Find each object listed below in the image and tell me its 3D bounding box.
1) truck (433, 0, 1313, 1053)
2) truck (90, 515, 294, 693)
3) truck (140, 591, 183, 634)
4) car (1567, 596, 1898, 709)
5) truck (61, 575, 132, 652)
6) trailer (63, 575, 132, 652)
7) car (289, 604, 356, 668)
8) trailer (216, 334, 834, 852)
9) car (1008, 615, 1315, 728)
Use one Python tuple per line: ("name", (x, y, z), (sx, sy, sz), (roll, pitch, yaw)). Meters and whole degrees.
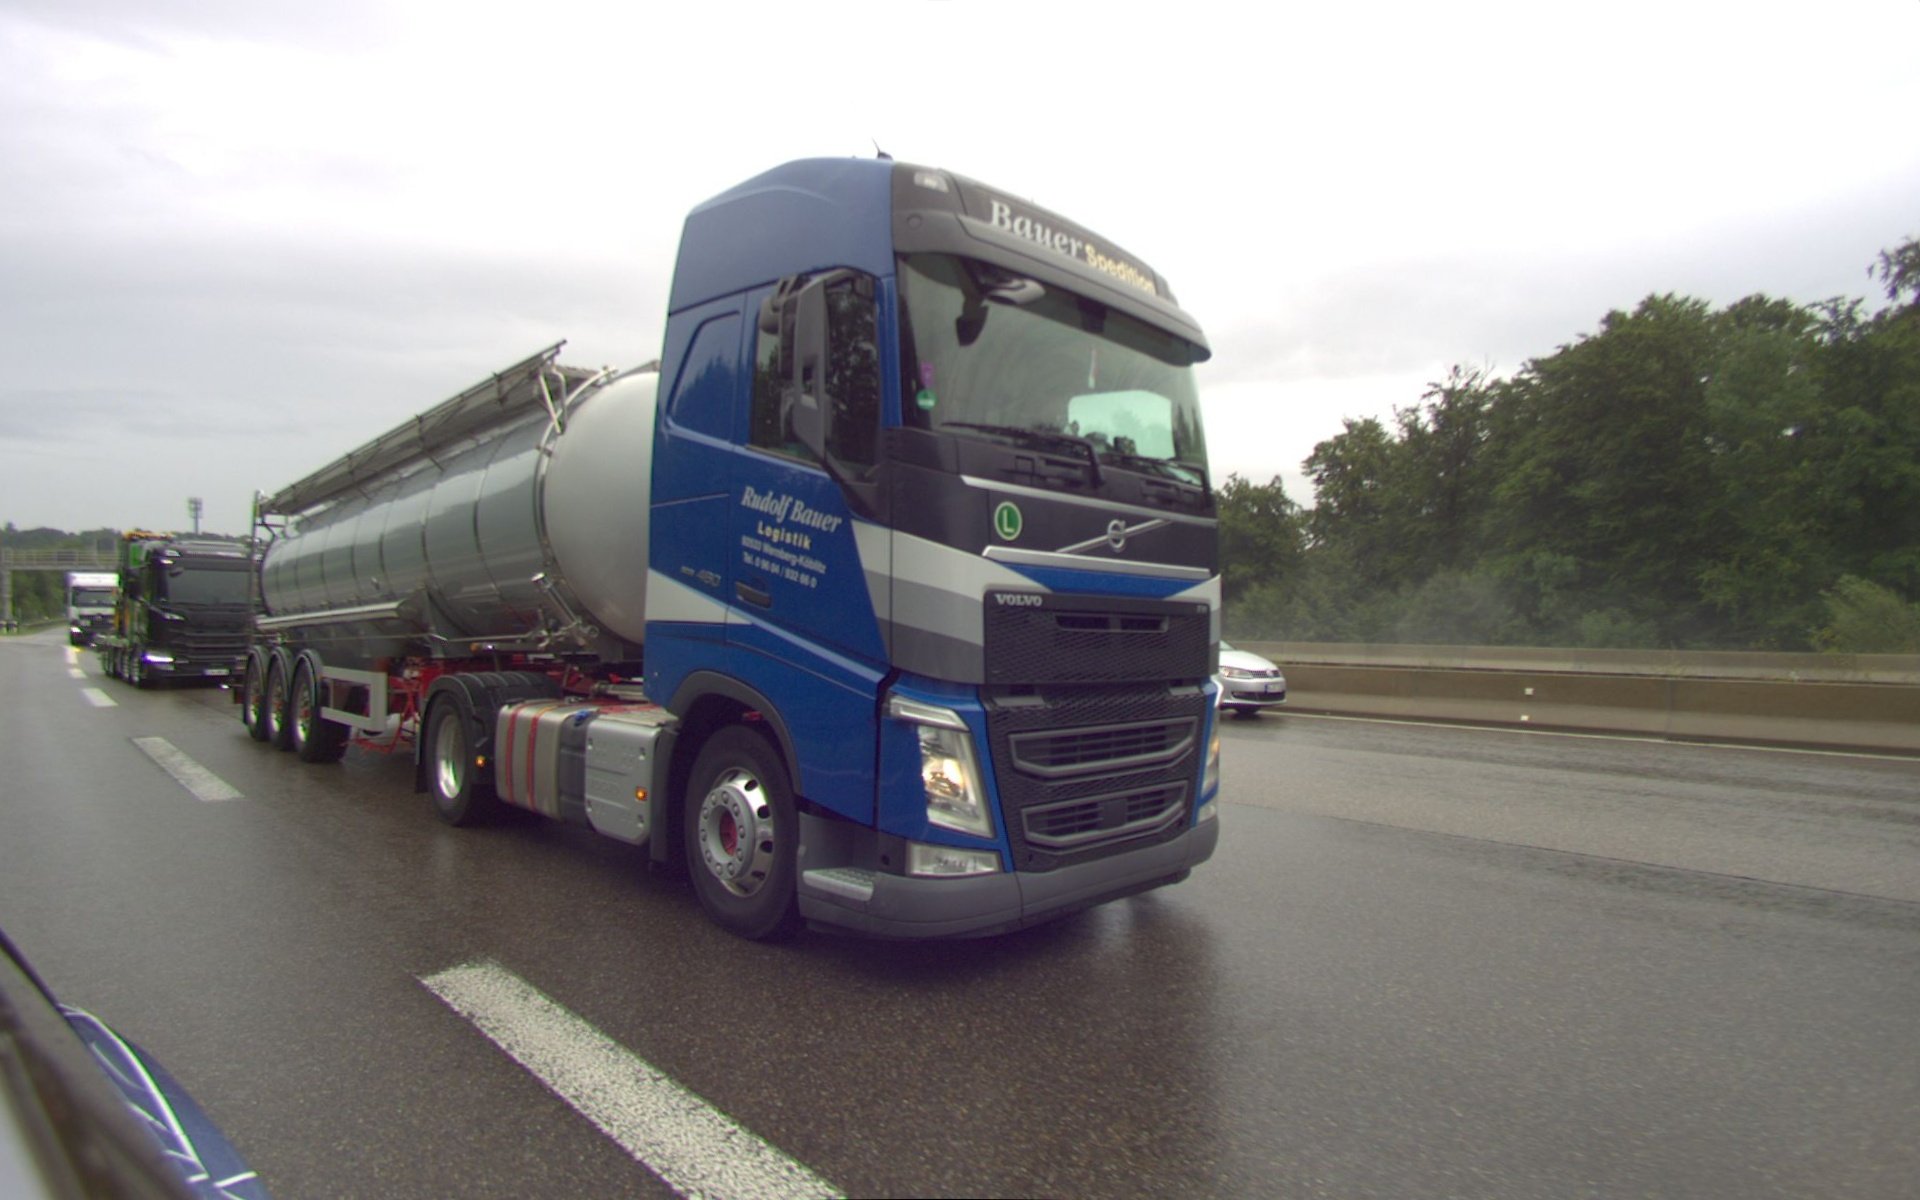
("truck", (-0.887, -0.267, 6.269), (2.844, 3.722, 5.059), (1, -2, -45))
("truck", (-19.939, 0.178, 25.849), (2.797, 3.616, 11.807), (2, -2, -43))
("truck", (-85.146, 1.249, 108.012), (3.304, 4.100, 12.599), (-3, 3, -38))
("car", (13.007, 0.824, 17.228), (1.970, 1.670, 4.211), (1, -1, -43))
("truck", (-49.373, 0.750, 57.986), (2.881, 4.130, 6.731), (1, -1, -39))
("trailer", (-53.165, 0.771, 62.606), (2.881, 4.237, 13.660), (1, -1, -39))
("car", (-31.331, 1.713, 49.731), (1.970, 2.855, 4.004), (-4, 3, -43))
("trailer", (-5.566, 0.060, 11.090), (2.840, 3.314, 10.085), (1, -2, -44))
("car", (3.337, 1.138, 17.703), (1.970, 1.696, 5.087), (2, -2, -43))
